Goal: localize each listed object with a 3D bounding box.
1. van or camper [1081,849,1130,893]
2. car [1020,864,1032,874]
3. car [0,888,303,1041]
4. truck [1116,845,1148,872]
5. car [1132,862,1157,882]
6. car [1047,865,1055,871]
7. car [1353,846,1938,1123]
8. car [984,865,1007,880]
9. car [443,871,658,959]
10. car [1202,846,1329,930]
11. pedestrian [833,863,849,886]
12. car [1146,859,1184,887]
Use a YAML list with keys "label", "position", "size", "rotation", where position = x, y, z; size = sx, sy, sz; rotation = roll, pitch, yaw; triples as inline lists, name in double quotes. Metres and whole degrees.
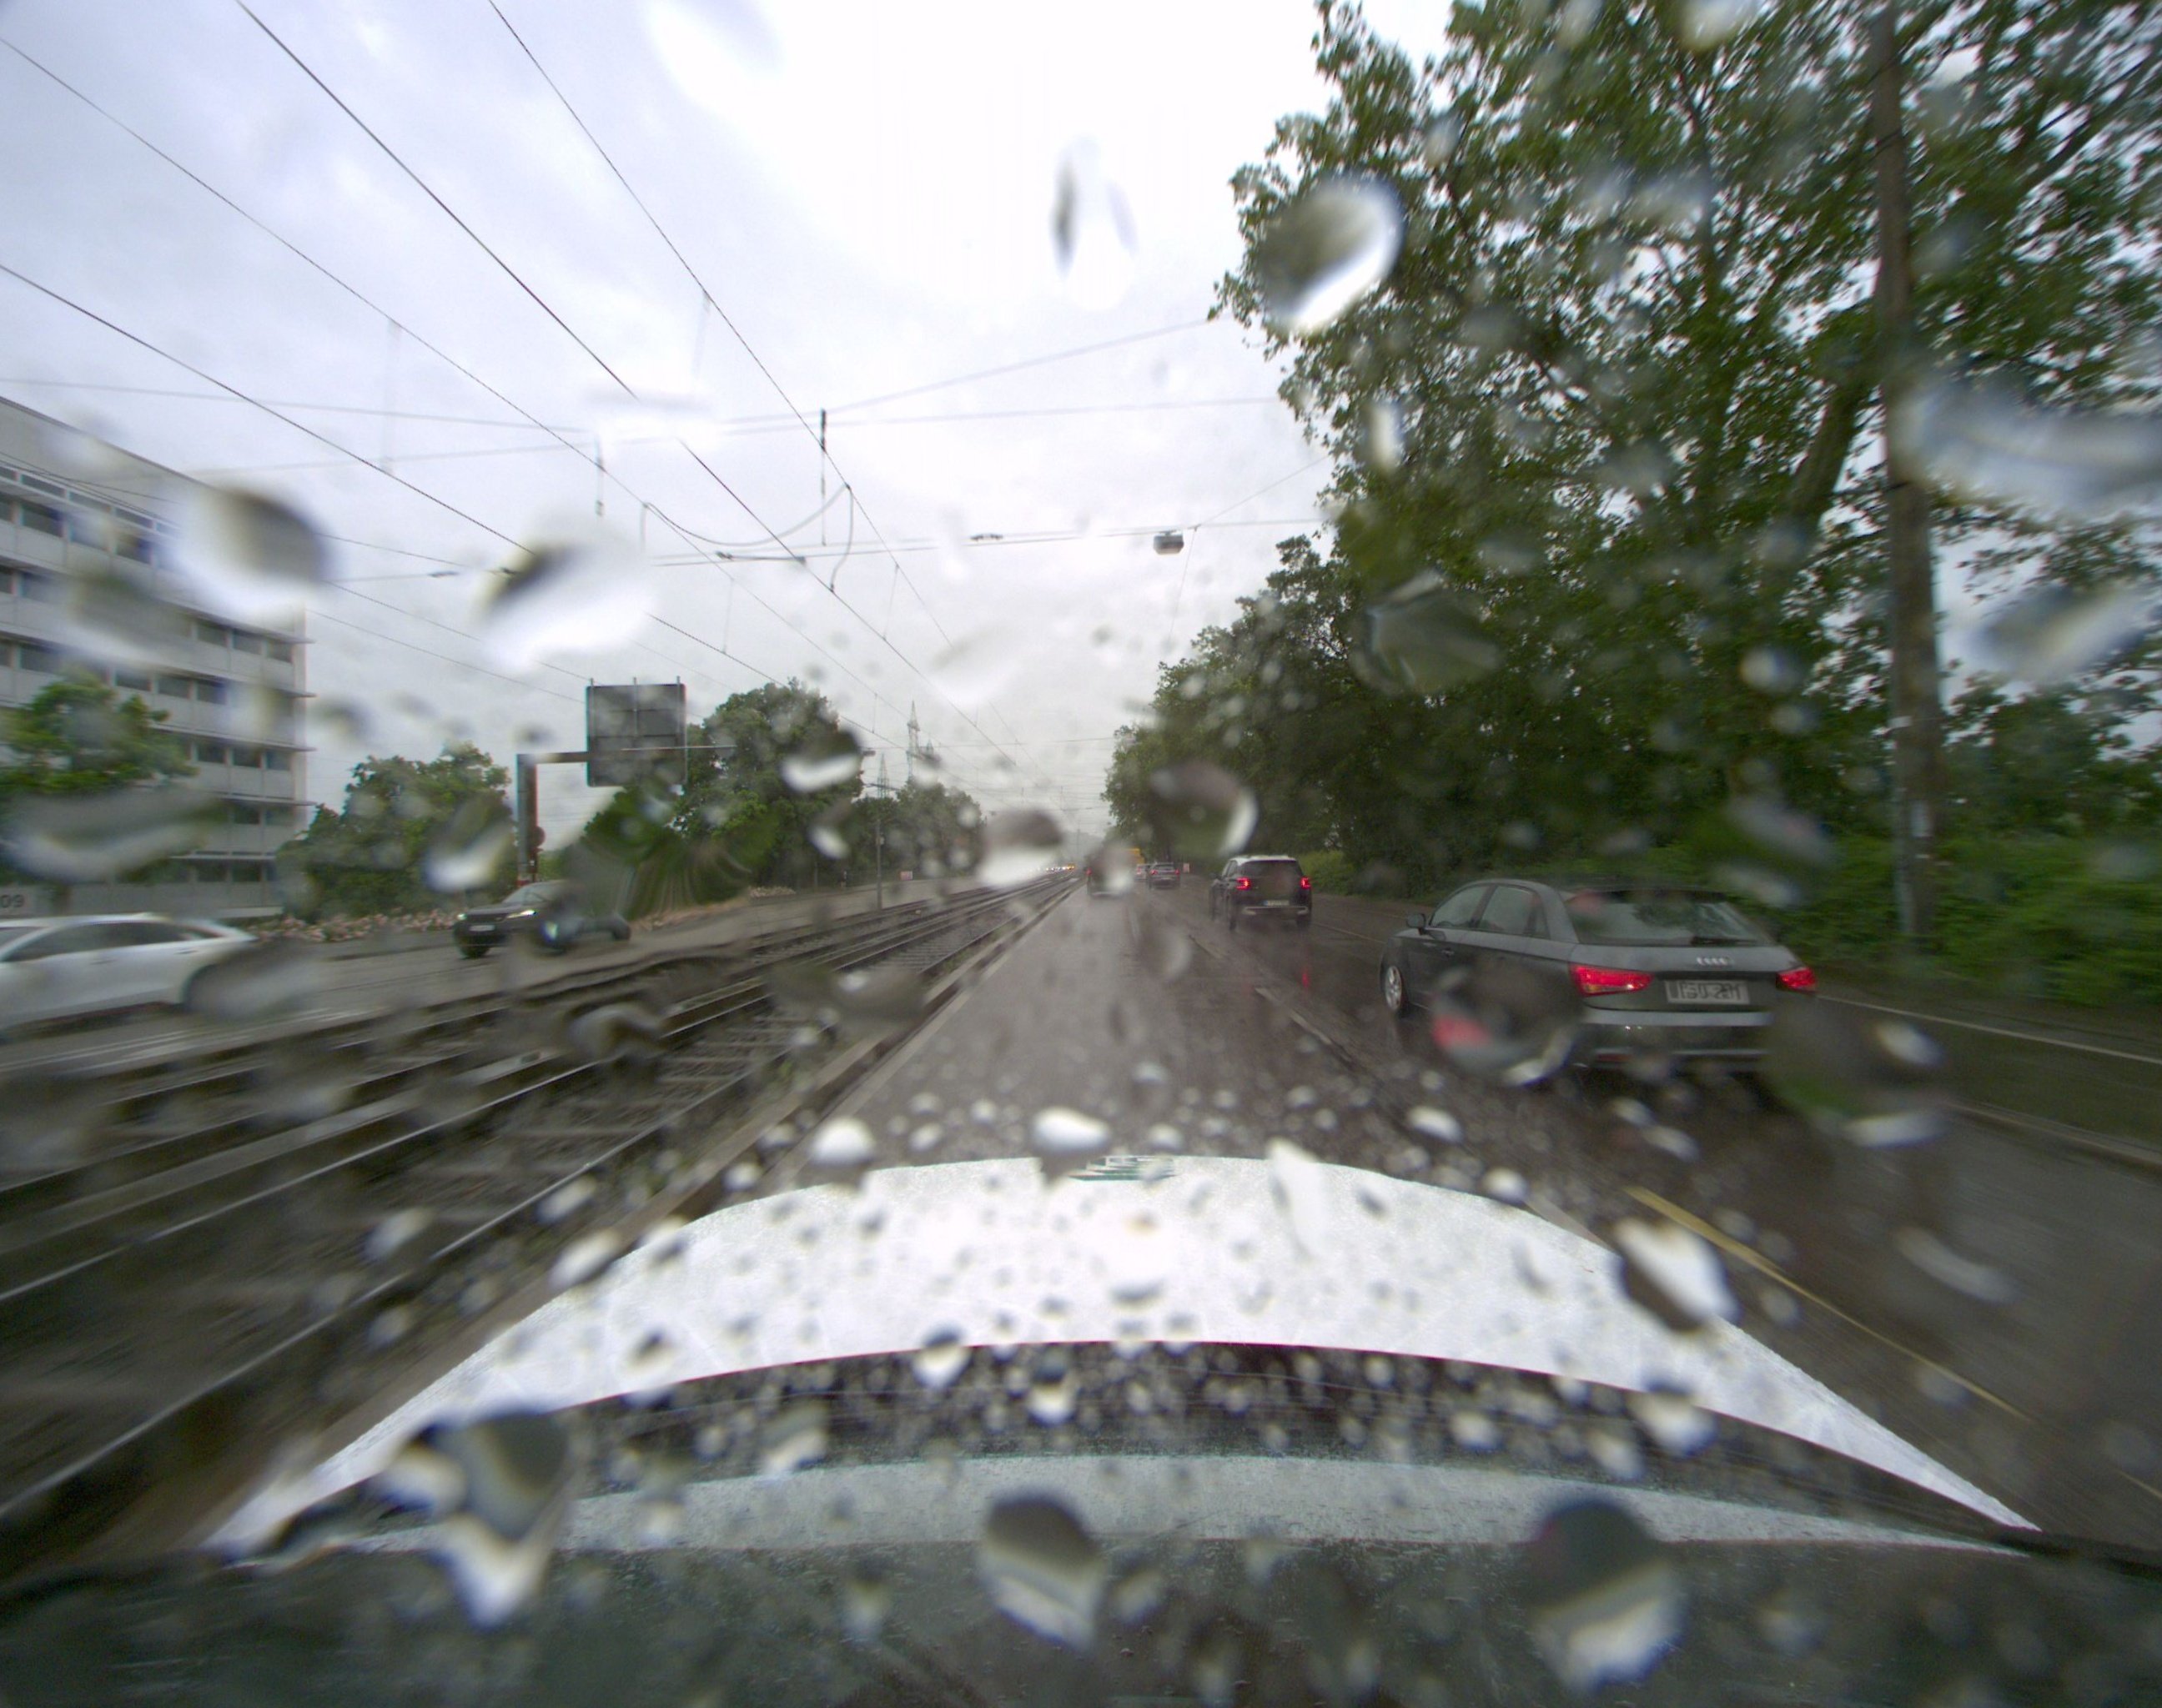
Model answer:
- label: "van or camper"
  position: [1.023, 0.688, 35.812]
  size: [1.988, 1.784, 3.998]
  rotation: [0, 1, -1]
- label: "car"
  position: [-10.734, 2.997, 158.995]
  size: [1.986, 1.816, 4.660]
  rotation: [-2, 0, 1]
- label: "car"
  position: [-13.321, 1.378, 10.457]
  size: [1.987, 1.583, 4.766]
  rotation: [-2, 0, 0]
- label: "truck"
  position: [5.353, 0.435, 86.903]
  size: [3.102, 2.773, 6.330]
  rotation: [-1, 0, 1]
- label: "car"
  position: [5.057, 1.417, 64.863]
  size: [1.811, 1.414, 3.780]
  rotation: [0, 1, 2]
- label: "car"
  position: [-7.100, 3.301, 191.837]
  size: [1.650, 1.486, 4.015]
  rotation: [-2, 0, 3]
- label: "car"
  position: [3.829, 0.710, 6.550]
  size: [1.961, 1.528, 3.990]
  rotation: [0, 1, 0]
- label: "car"
  position: [-10.074, 2.147, 96.570]
  size: [1.985, 1.618, 4.257]
  rotation: [-2, 0, 3]
- label: "car"
  position: [-12.885, 1.393, 20.267]
  size: [1.986, 1.721, 4.883]
  rotation: [-2, 0, 2]
- label: "car"
  position: [4.128, 0.672, 19.025]
  size: [1.893, 1.716, 4.725]
  rotation: [0, 1, 0]
- label: "pedestrian"
  position: [-18.642, 1.568, 63.262]
  size: [0.848, 1.759, 1.121]
  rotation: [-2, 0, 1]
- label: "car"
  position: [4.634, 1.041, 45.330]
  size: [1.811, 1.414, 3.780]
  rotation: [0, 1, 2]
